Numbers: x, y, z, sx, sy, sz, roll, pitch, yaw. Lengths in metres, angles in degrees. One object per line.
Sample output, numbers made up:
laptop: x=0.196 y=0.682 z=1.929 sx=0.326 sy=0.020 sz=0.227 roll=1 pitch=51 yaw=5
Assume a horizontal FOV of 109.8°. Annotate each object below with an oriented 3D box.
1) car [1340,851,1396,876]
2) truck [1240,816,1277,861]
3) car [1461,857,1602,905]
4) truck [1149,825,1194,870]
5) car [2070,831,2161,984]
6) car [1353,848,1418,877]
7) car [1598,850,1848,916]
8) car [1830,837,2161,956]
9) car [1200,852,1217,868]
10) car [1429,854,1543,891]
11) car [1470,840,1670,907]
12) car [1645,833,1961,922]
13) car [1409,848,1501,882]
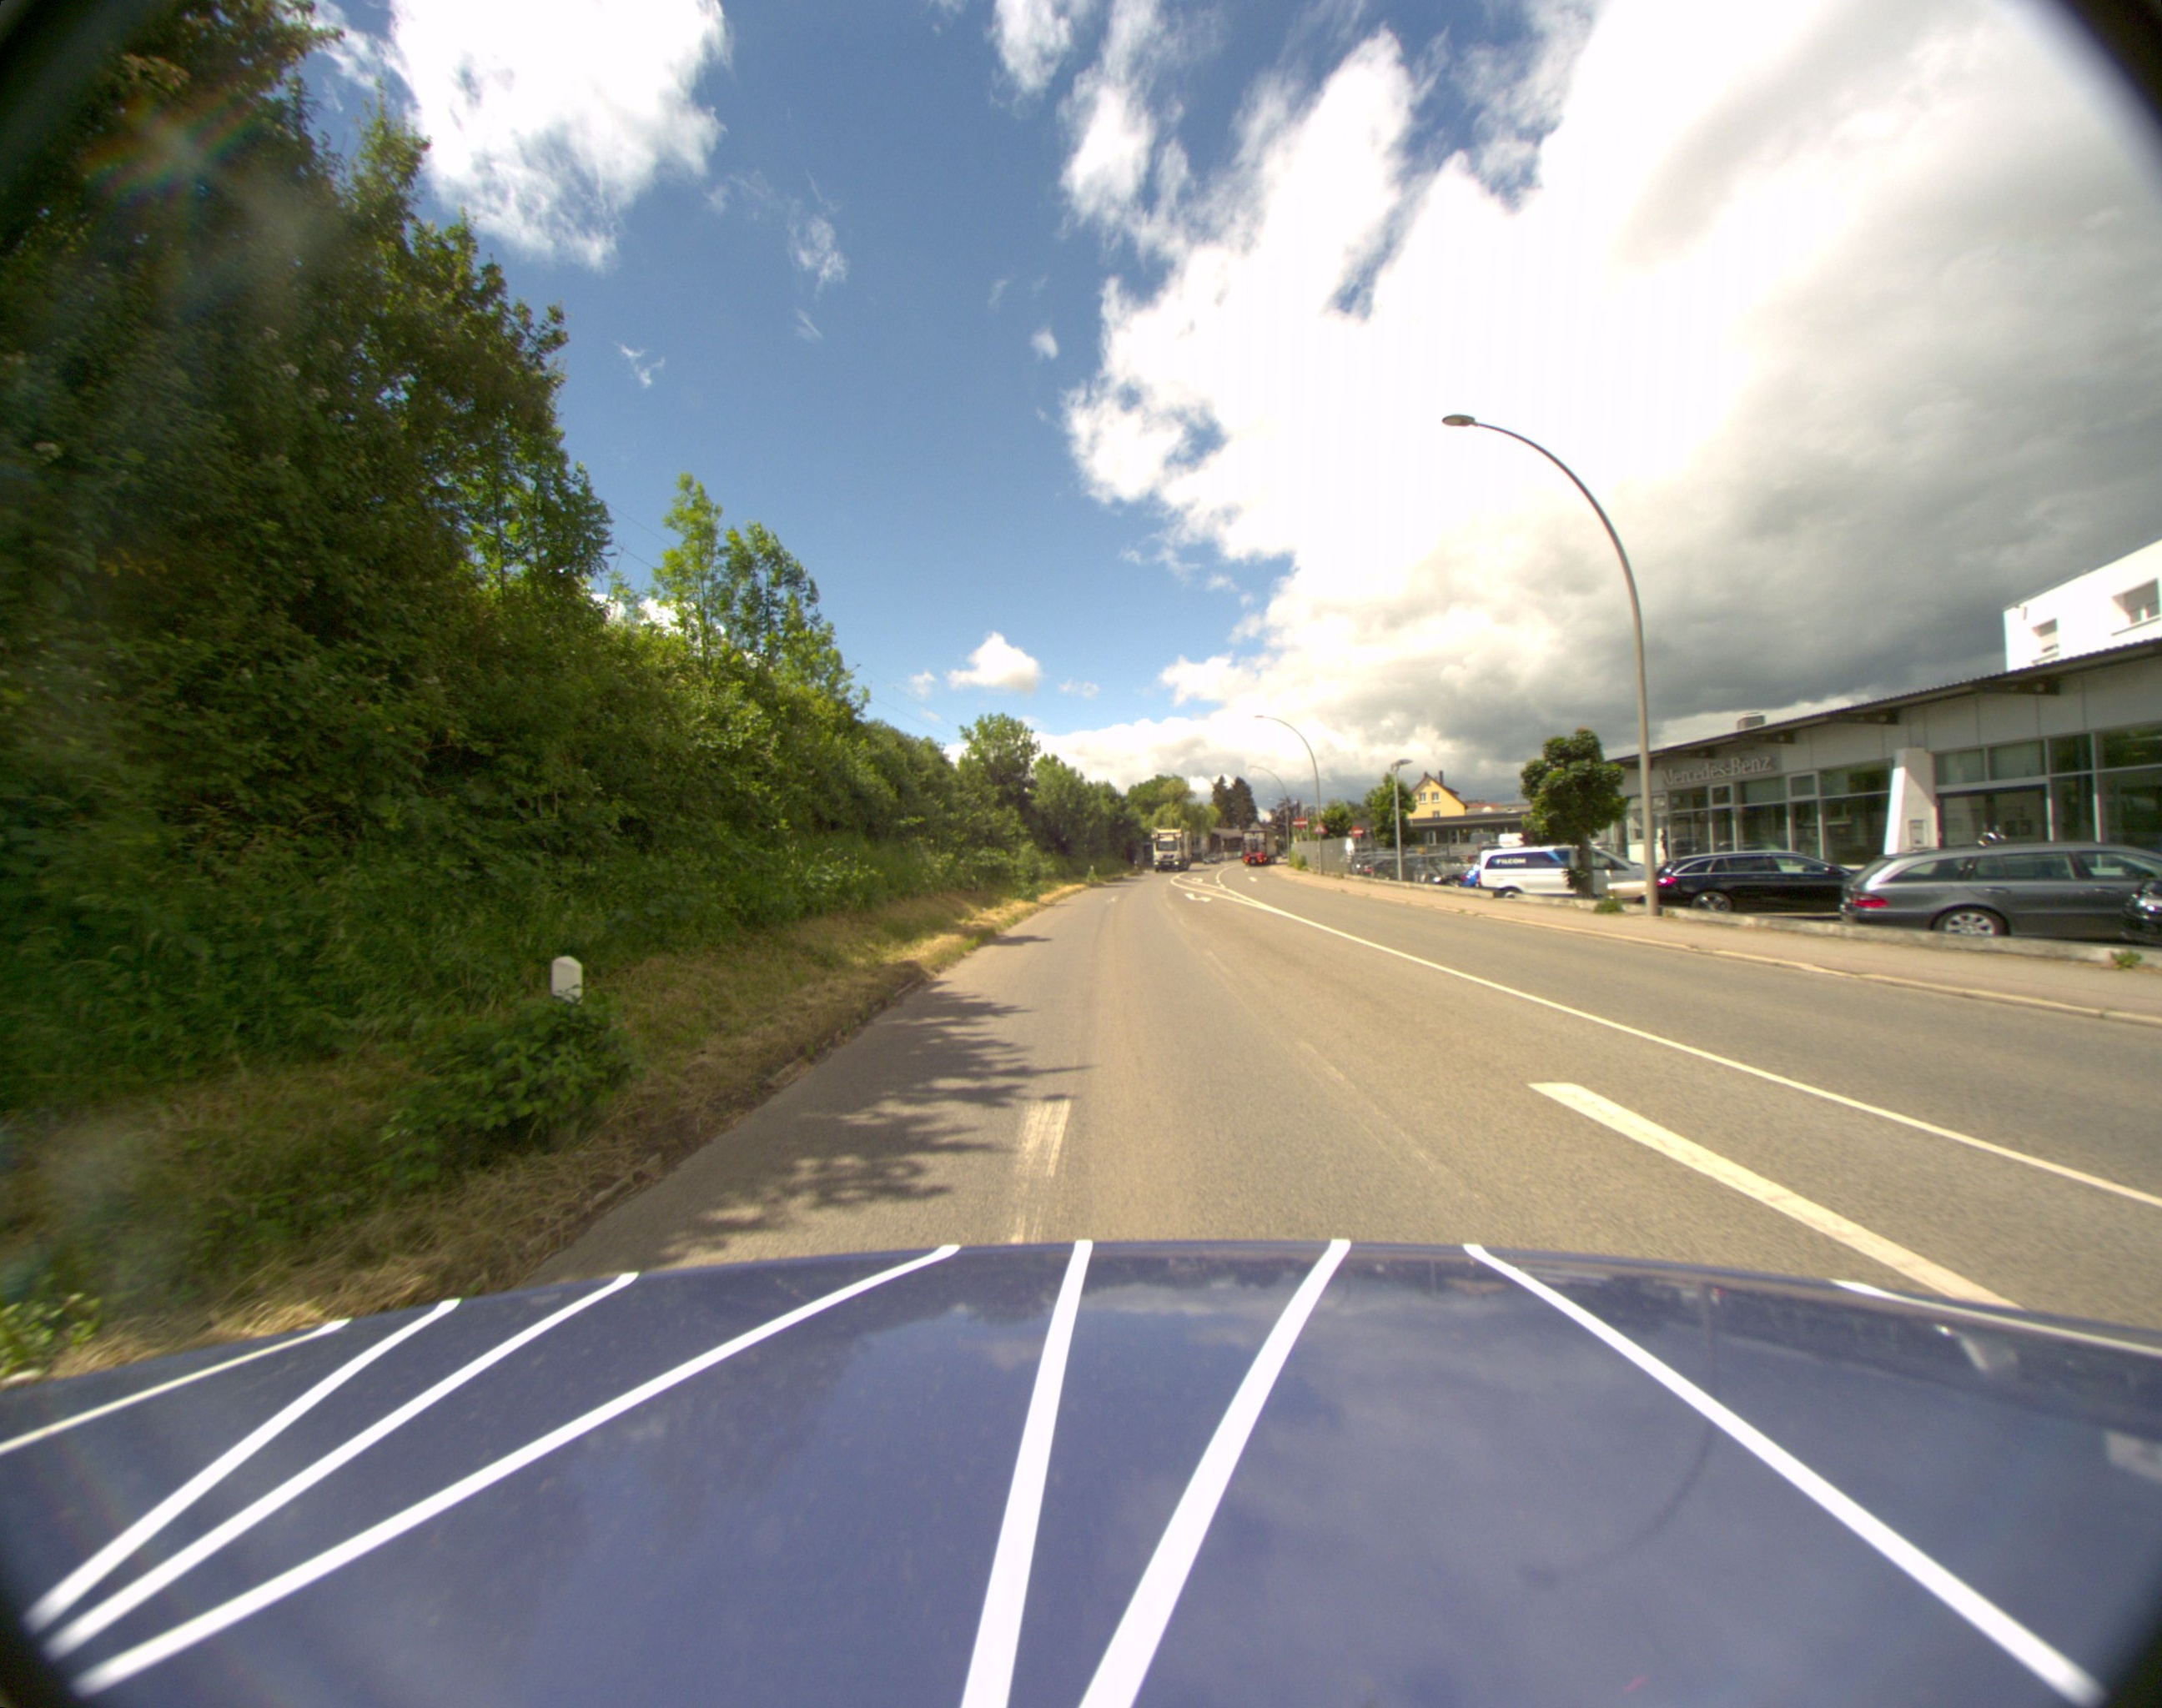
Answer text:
car: x=18.994 y=0.613 z=50.386 sx=3.262 sy=1.565 sz=1.583 roll=-2 pitch=0 yaw=10
truck: x=20.059 y=-1.717 z=85.541 sx=2.976 sy=4.634 sz=8.189 roll=-2 pitch=1 yaw=20
car: x=15.261 y=0.941 z=25.799 sx=3.945 sy=1.417 sz=1.807 roll=-4 pitch=-1 yaw=35
truck: x=8.513 y=-0.619 z=70.593 sx=2.902 sy=3.746 sz=9.643 roll=-2 pitch=0 yaw=14
car: x=13.986 y=0.463 z=7.538 sx=4.624 sy=1.615 sz=2.066 roll=-4 pitch=-1 yaw=35
car: x=17.806 y=0.506 z=44.566 sx=3.262 sy=1.565 sz=1.583 roll=-2 pitch=0 yaw=10
car: x=15.459 y=0.733 z=18.692 sx=4.454 sy=1.321 sz=1.896 roll=-5 pitch=-2 yaw=33
car: x=13.588 y=0.553 z=10.867 sx=3.944 sy=1.485 sz=1.807 roll=-2 pitch=0 yaw=40
car: x=17.392 y=0.759 z=103.406 sx=1.952 sy=2.002 sz=4.004 roll=-2 pitch=0 yaw=14
car: x=16.499 y=0.743 z=31.034 sx=3.945 sy=1.285 sz=1.807 roll=-4 pitch=-1 yaw=30
car: x=14.804 y=0.579 z=23.171 sx=4.945 sy=1.827 sz=1.896 roll=-2 pitch=0 yaw=37
car: x=14.688 y=0.533 z=15.902 sx=4.497 sy=1.615 sz=1.808 roll=-4 pitch=-2 yaw=34
car: x=18.341 y=0.539 z=37.417 sx=3.660 sy=1.454 sz=1.659 roll=-3 pitch=-1 yaw=6
